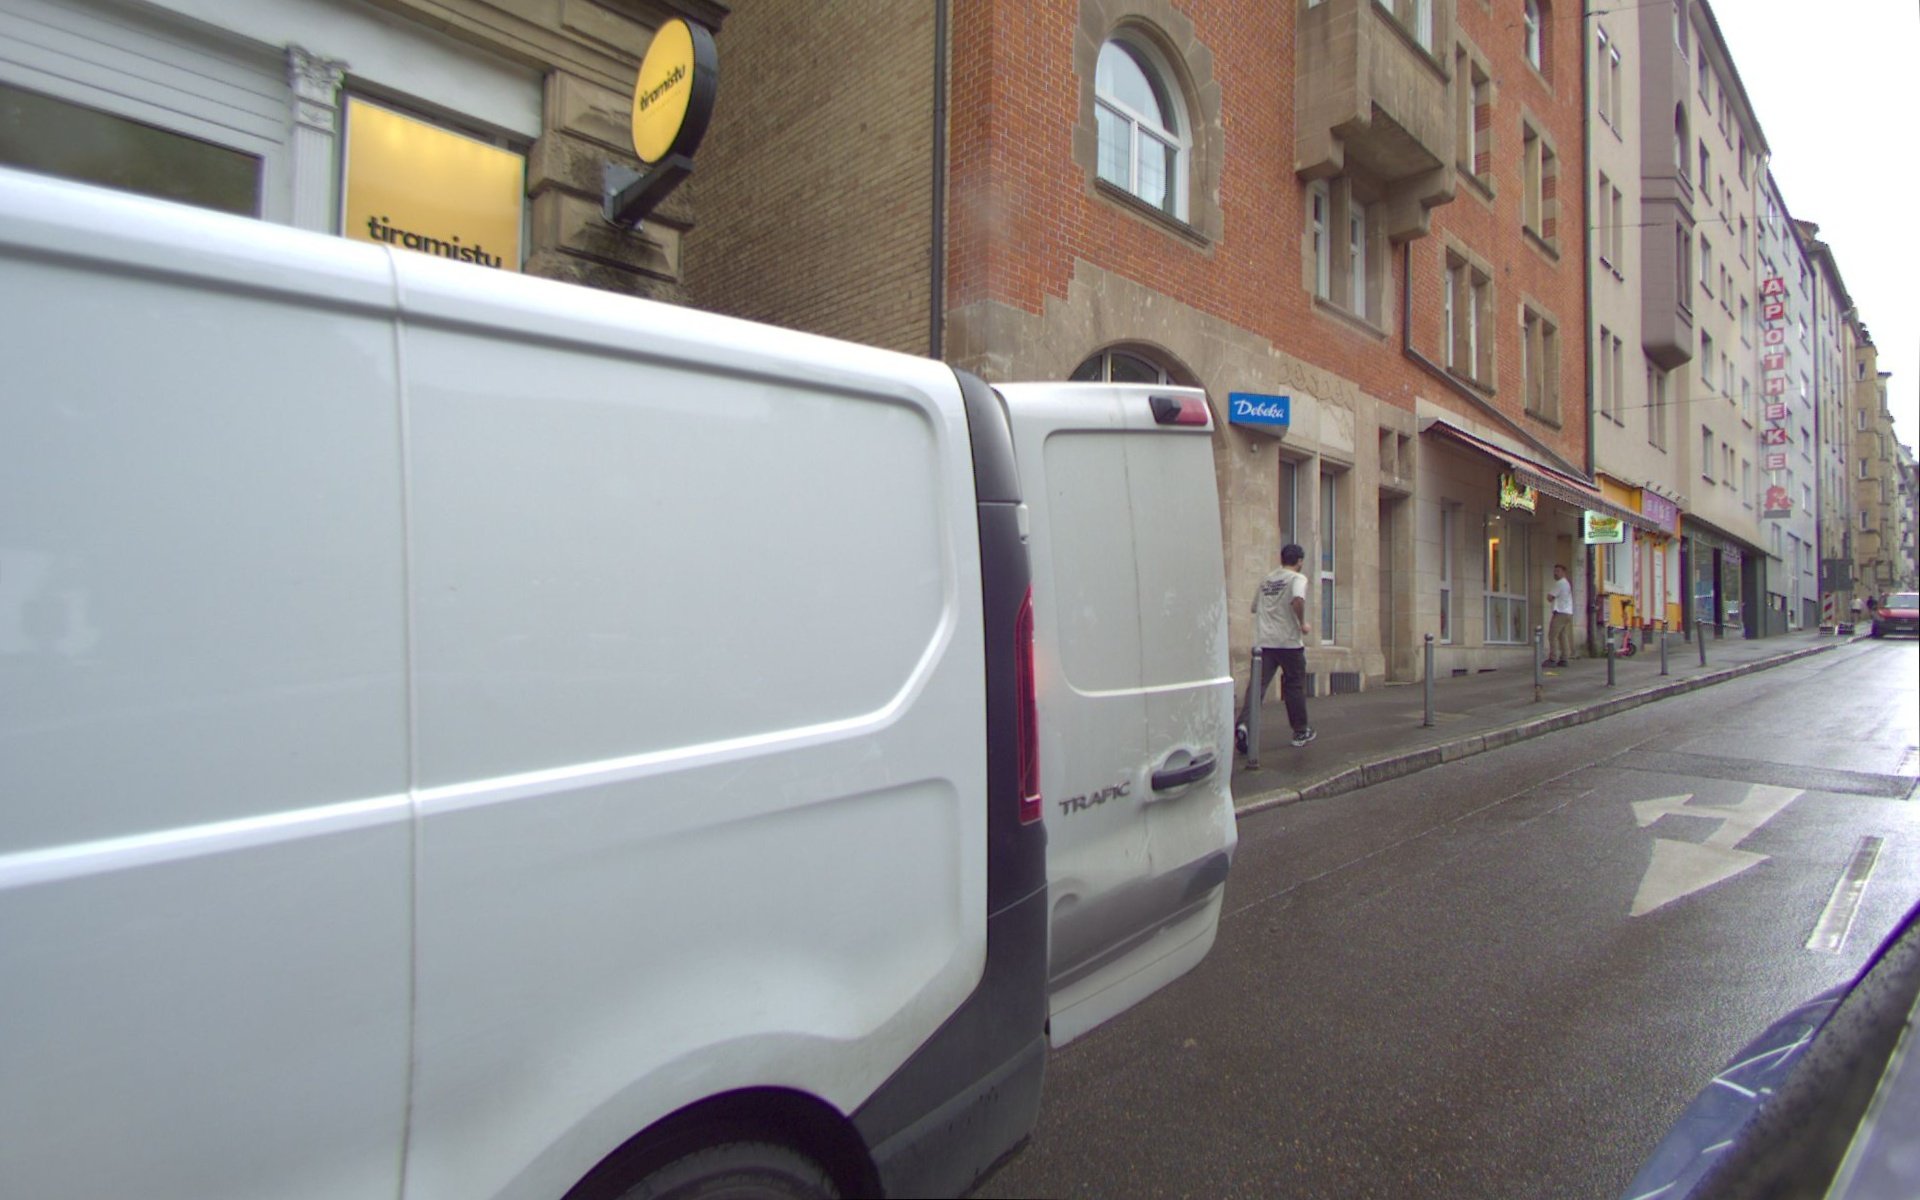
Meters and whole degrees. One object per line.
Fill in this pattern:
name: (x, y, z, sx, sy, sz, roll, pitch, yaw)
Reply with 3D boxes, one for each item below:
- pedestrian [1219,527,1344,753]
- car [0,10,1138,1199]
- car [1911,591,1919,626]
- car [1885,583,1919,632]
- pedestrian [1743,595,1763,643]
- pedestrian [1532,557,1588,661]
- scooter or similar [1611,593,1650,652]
pedestrian: (2.692, 0.309, 8.468, 0.822, 1.776, 0.685, 0, 0, -43)
car: (-1.964, 0.434, 1.261, 4.606, 1.960, 1.923, 0, 0, -43)
car: (49.779, 0.434, 51.465, 4.423, 1.730, 1.767, 1, -1, -43)
car: (38.491, 0.274, 40.506, 1.975, 1.861, 5.162, 0, 0, 44)
pedestrian: (27.750, 0.658, 35.421, 0.479, 1.666, 0.327, -2, -2, 36)
pedestrian: (10.979, 0.151, 18.524, 0.567, 1.852, 0.565, 1, 2, -11)
scooter or similar: (14.395, 0.490, 21.732, 1.171, 1.237, 0.258, 1, -2, -34)
